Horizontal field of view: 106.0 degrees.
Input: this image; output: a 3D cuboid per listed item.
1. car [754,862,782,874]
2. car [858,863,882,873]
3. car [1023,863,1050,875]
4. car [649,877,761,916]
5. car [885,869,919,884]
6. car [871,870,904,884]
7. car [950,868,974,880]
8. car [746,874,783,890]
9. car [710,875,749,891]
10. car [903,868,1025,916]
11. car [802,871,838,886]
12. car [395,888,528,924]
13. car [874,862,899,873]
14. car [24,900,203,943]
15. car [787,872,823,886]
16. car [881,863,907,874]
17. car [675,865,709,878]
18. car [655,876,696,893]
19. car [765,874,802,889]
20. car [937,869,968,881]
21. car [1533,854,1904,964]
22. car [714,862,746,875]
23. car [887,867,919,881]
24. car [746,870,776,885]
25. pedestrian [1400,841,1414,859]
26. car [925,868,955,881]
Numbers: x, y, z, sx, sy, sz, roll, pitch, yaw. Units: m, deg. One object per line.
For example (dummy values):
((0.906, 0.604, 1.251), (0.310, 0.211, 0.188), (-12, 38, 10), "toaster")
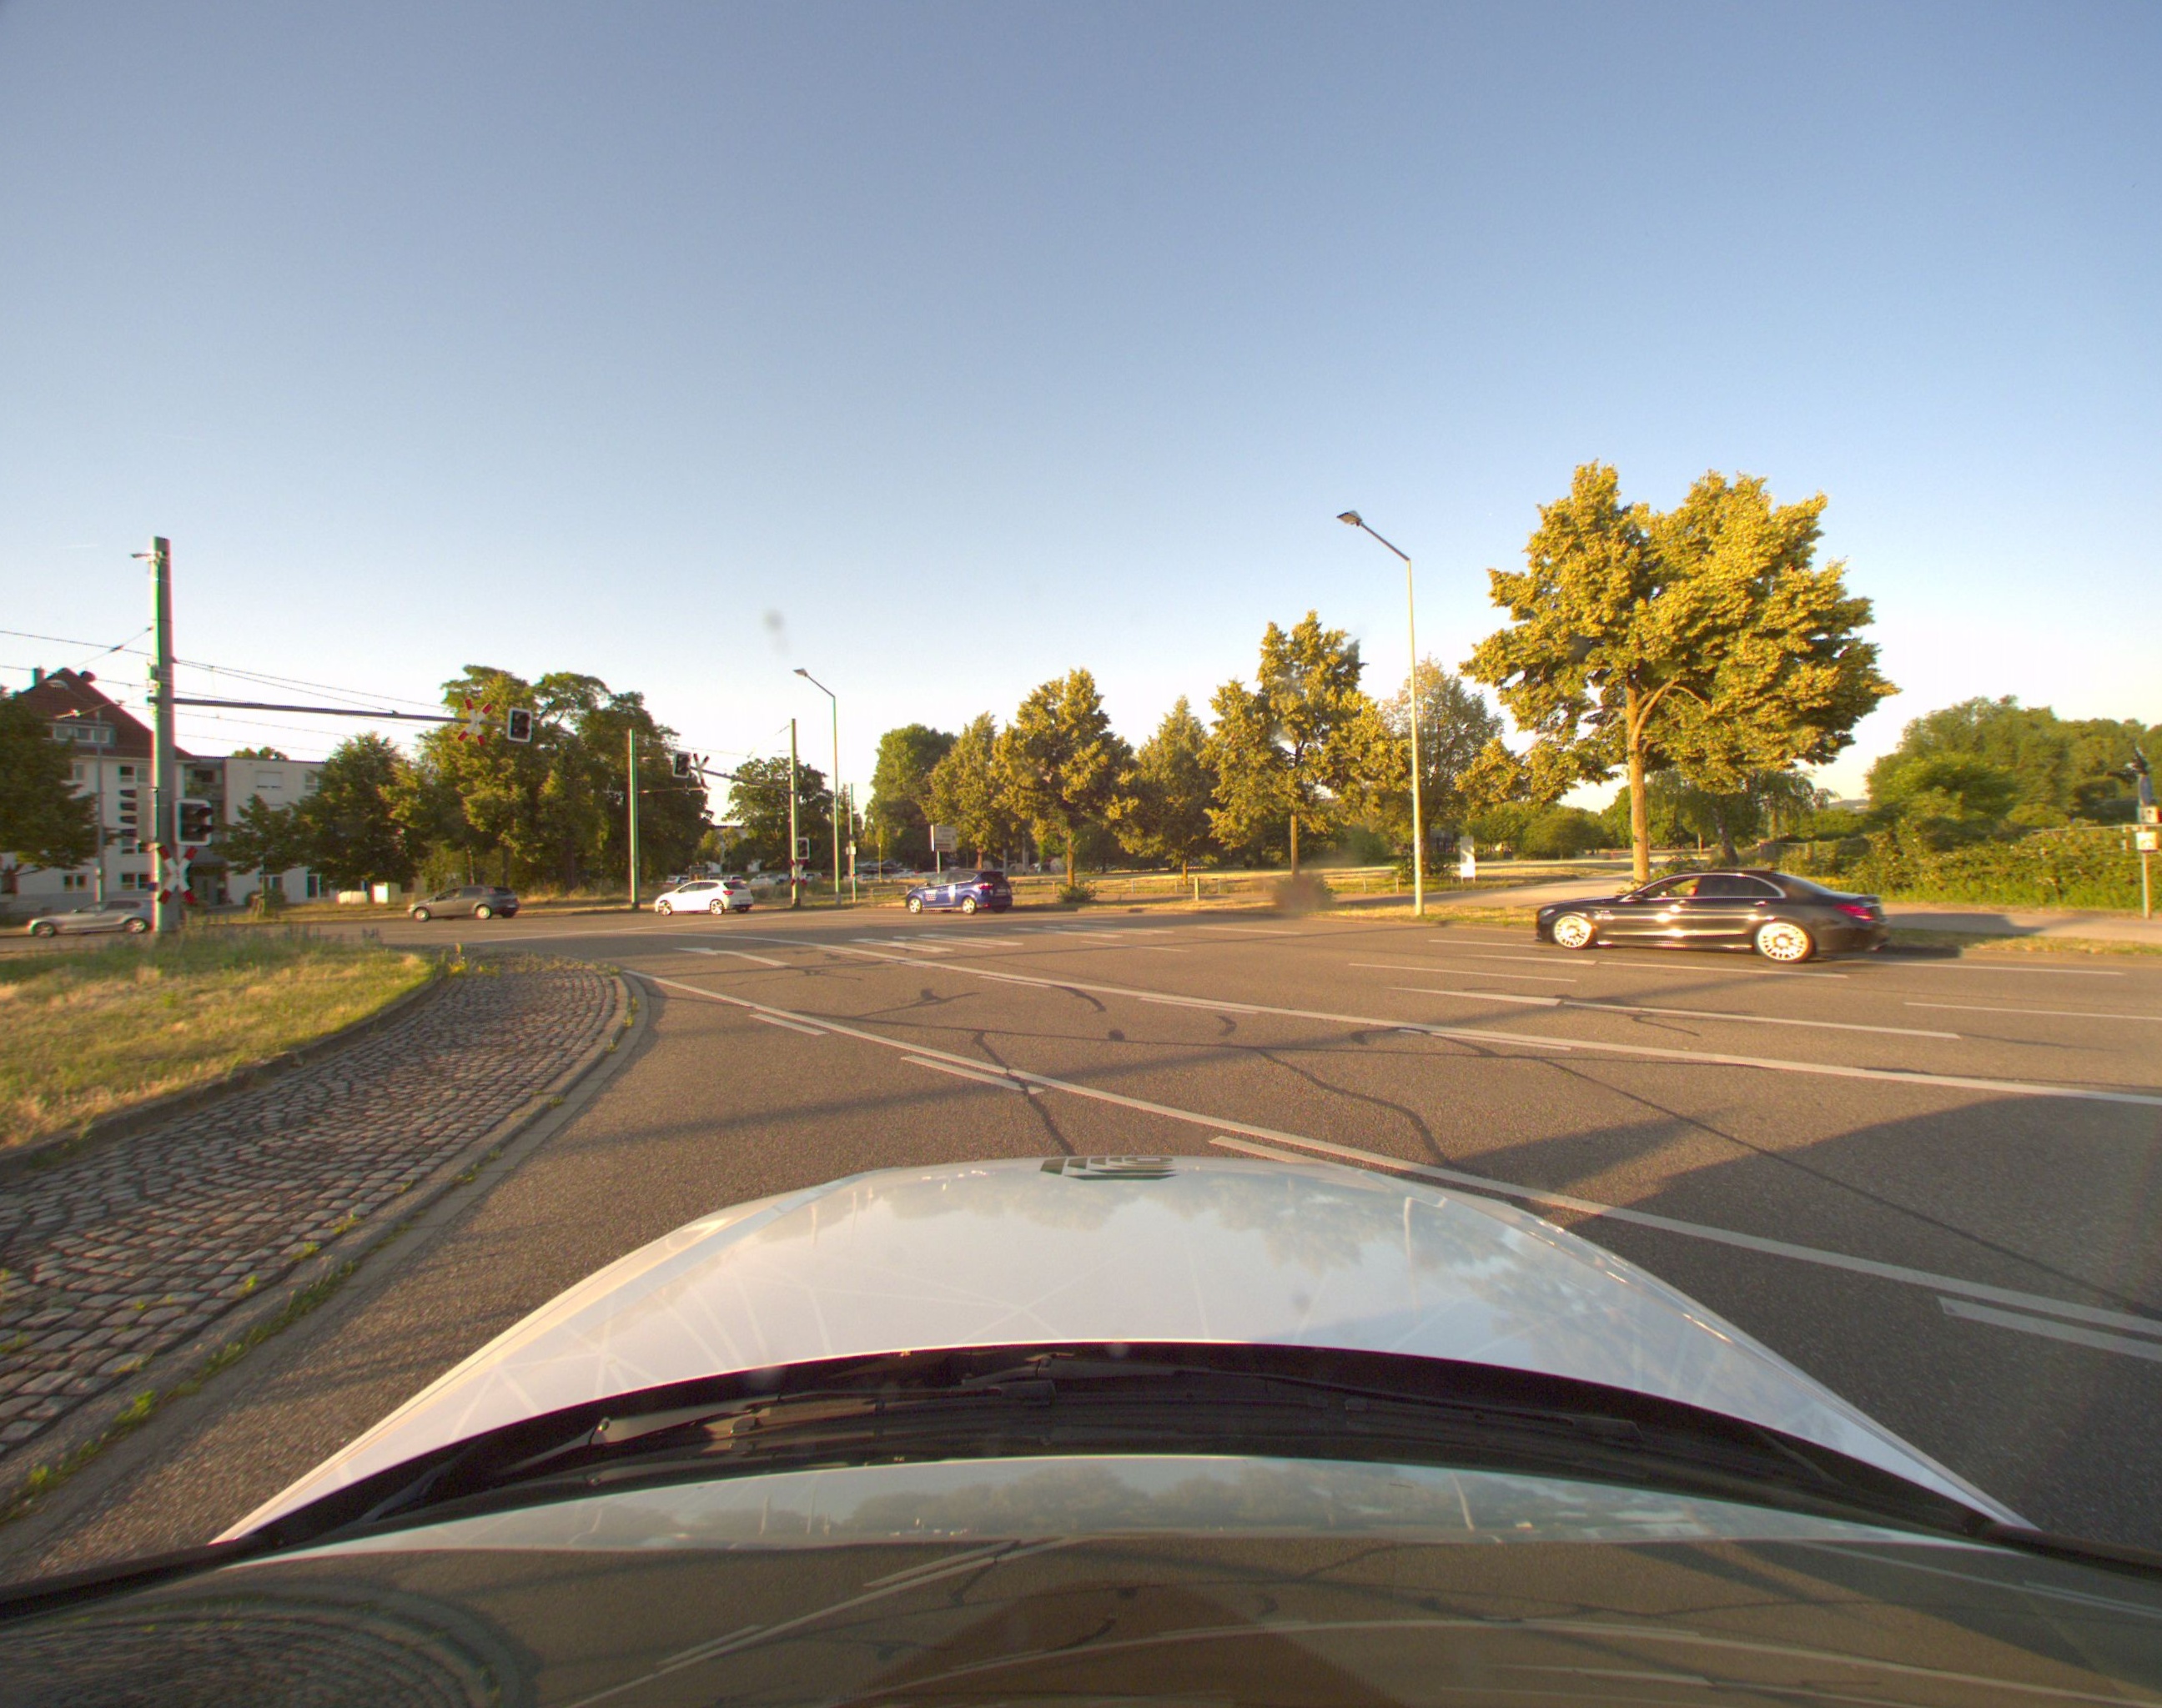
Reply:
((-55.753, 2.513, 145.023), (1.974, 2.014, 4.142), (-2, -1, 36), "car")
((-39.557, 2.625, 152.884), (1.974, 1.816, 4.026), (-2, -1, 38), "car")
((-6.302, 2.076, 114.645), (1.747, 1.618, 3.954), (-1, -1, -38), "car")
((-15.697, 1.771, 34.057), (3.928, 1.454, 1.876), (-2, 0, 16), "car")
((-25.946, 3.259, 118.168), (4.577, 2.014, 1.996), (-2, -1, -6), "car")
((-25.141, 3.002, 105.628), (3.948, 1.604, 2.013), (-2, -1, 35), "car")
((-18.997, 3.153, 129.580), (2.008, 1.752, 4.550), (-1, 0, -34), "car")
((-35.712, 3.166, 91.846), (3.948, 1.604, 2.013), (-2, -1, 35), "car")
((-37.744, 3.124, 87.354), (3.948, 1.604, 2.013), (-2, -1, 35), "car")
((-4.253, 1.323, 29.536), (4.126, 1.583, 1.928), (-1, 0, 34), "car")
((-31.219, 2.942, 97.334), (3.948, 1.604, 2.013), (-2, -1, 35), "car")
((-26.485, 2.218, 34.936), (4.136, 1.454, 1.866), (1, -3, -1), "car")
((-35.811, 2.500, 149.852), (1.975, 2.014, 4.024), (-2, -1, 43), "car")
((-38.345, 2.632, 32.423), (4.165, 1.390, 1.854), (-1, -1, -21), "car")
((-32.314, 2.922, 95.169), (3.948, 1.604, 2.013), (-2, -1, 35), "car")
((-33.585, 2.593, 146.213), (3.963, 1.706, 2.005), (-2, -1, 9), "car")
((-63.738, 2.892, 133.520), (1.974, 2.014, 4.627), (-2, -1, 33), "car")
((-41.432, 3.099, 83.188), (3.948, 1.604, 2.013), (-2, -1, 35), "car")
((-34.145, 3.175, 93.435), (3.948, 1.604, 2.013), (-2, -1, 35), "car")
((-18.318, 2.935, 116.030), (3.948, 1.604, 2.013), (-2, -1, 35), "car")
((10.362, 0.814, 13.530), (2.011, 1.505, 4.565), (1, -2, -42), "car")
((-59.921, 2.472, 139.209), (1.974, 2.014, 4.628), (-2, -1, 37), "car")
((-27.557, 3.028, 126.382), (4.577, 2.014, 1.996), (-2, -1, -6), "car")
((-46.701, 3.369, 118.711), (4.005, 2.014, 1.984), (-1, -1, -23), "car")
((31.109, -0.376, 77.718), (1.064, 1.618, 0.912), (-2, -1, 5), "pedestrian")
((-19.816, 2.871, 114.356), (3.948, 1.604, 2.013), (-2, -1, 35), "car")
